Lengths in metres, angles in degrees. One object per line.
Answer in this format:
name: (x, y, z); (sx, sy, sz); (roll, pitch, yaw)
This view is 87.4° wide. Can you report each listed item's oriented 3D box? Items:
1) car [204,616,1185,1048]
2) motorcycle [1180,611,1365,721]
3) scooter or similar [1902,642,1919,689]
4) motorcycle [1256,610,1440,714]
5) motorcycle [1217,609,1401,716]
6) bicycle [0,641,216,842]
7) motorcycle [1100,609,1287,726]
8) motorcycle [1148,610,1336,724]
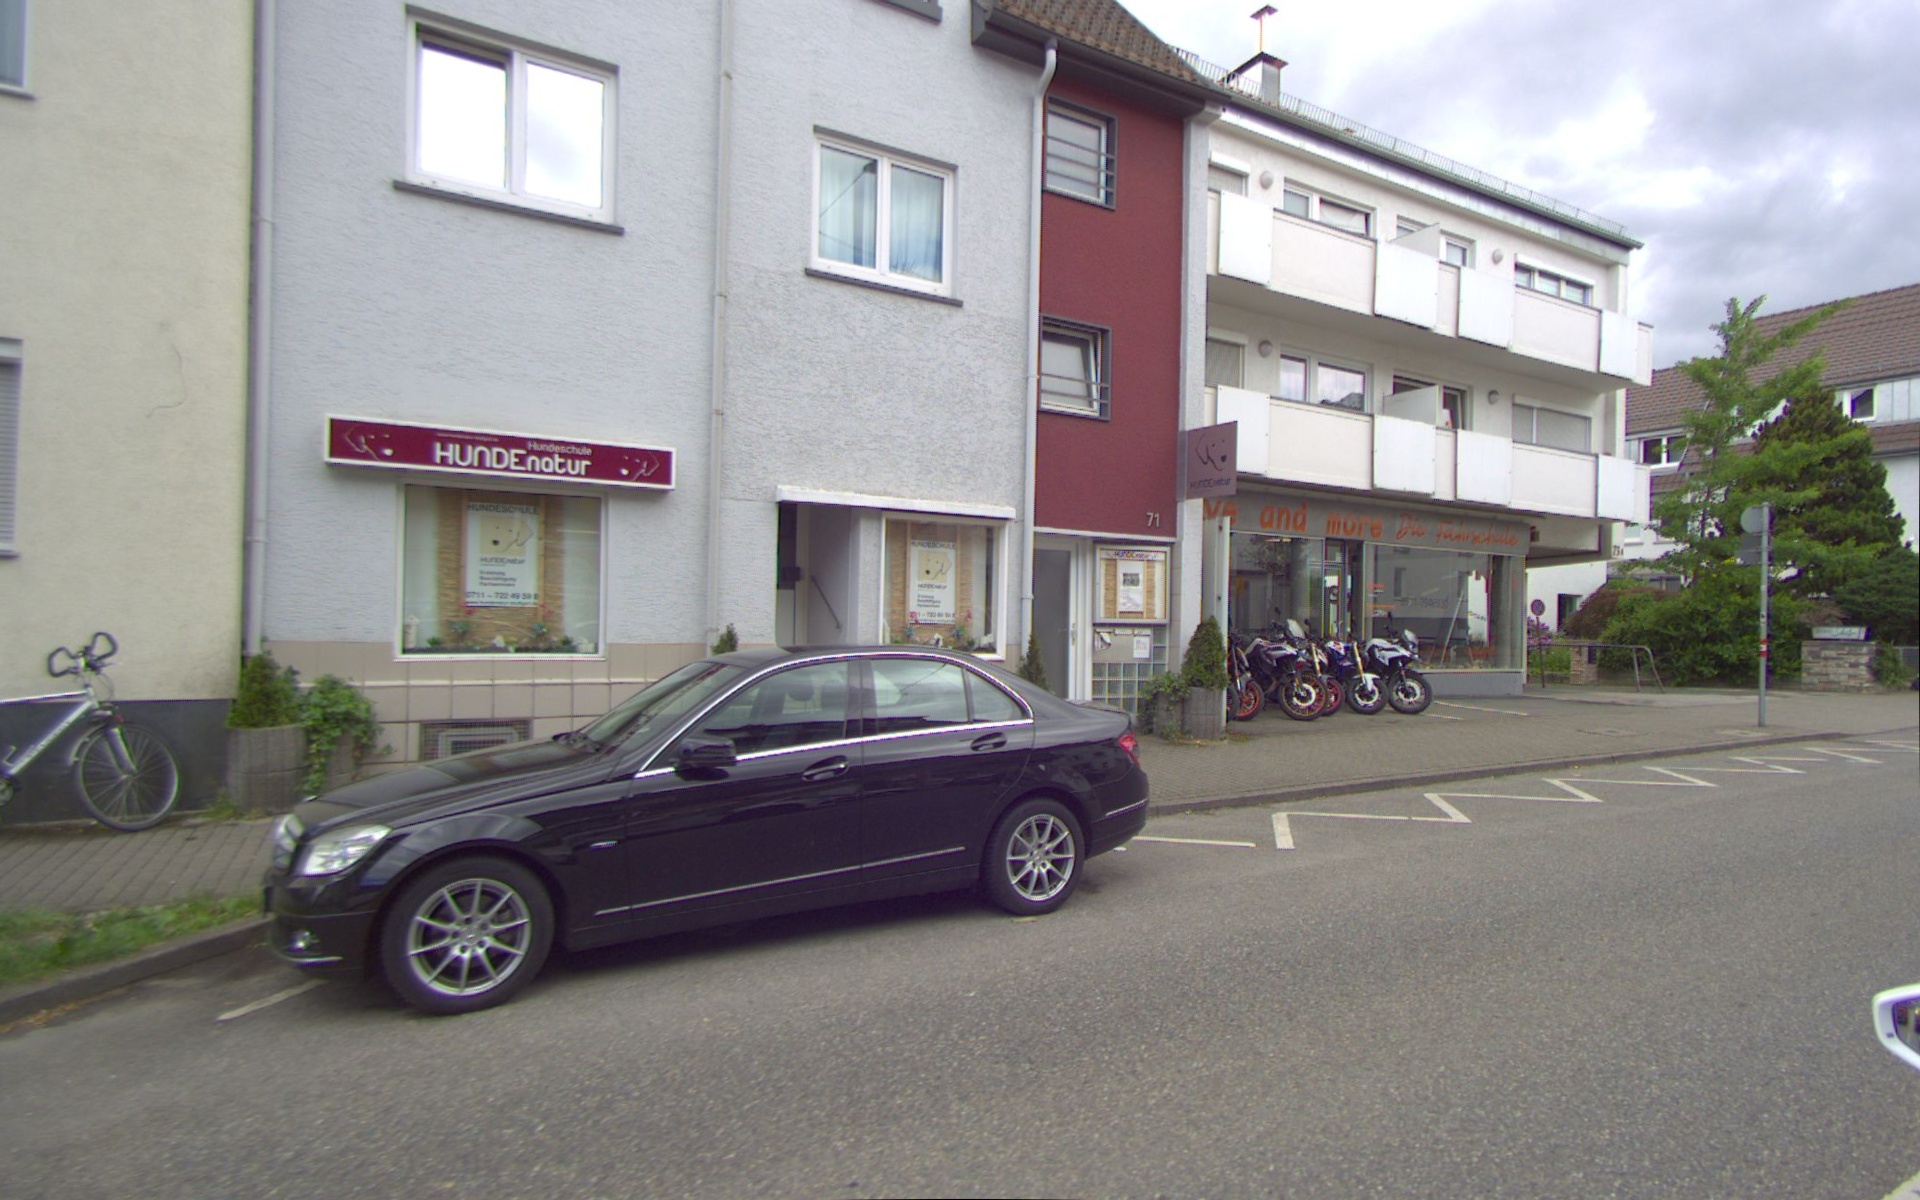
car: (-1.129, 0.899, 5.445); (4.462, 1.487, 1.940); (2, -3, -30)
motorcycle: (4.578, 0.917, 14.977); (0.694, 1.428, 2.686); (1, 0, -38)
scooter or similar: (21.719, 1.485, 22.777); (0.553, 1.048, 0.371); (1, -1, -30)
motorcycle: (6.001, 0.913, 15.727); (0.694, 1.428, 2.686); (1, 0, -38)
motorcycle: (5.268, 0.891, 15.366); (0.694, 1.428, 2.686); (1, 0, -38)
bicycle: (-5.705, 0.857, 6.270); (1.648, 1.169, 0.511); (2, 0, -33)
motorcycle: (3.188, 0.874, 14.052); (0.694, 1.428, 2.686); (1, 0, -38)
motorcycle: (3.979, 0.898, 14.437); (0.694, 1.428, 2.686); (1, 0, -38)
